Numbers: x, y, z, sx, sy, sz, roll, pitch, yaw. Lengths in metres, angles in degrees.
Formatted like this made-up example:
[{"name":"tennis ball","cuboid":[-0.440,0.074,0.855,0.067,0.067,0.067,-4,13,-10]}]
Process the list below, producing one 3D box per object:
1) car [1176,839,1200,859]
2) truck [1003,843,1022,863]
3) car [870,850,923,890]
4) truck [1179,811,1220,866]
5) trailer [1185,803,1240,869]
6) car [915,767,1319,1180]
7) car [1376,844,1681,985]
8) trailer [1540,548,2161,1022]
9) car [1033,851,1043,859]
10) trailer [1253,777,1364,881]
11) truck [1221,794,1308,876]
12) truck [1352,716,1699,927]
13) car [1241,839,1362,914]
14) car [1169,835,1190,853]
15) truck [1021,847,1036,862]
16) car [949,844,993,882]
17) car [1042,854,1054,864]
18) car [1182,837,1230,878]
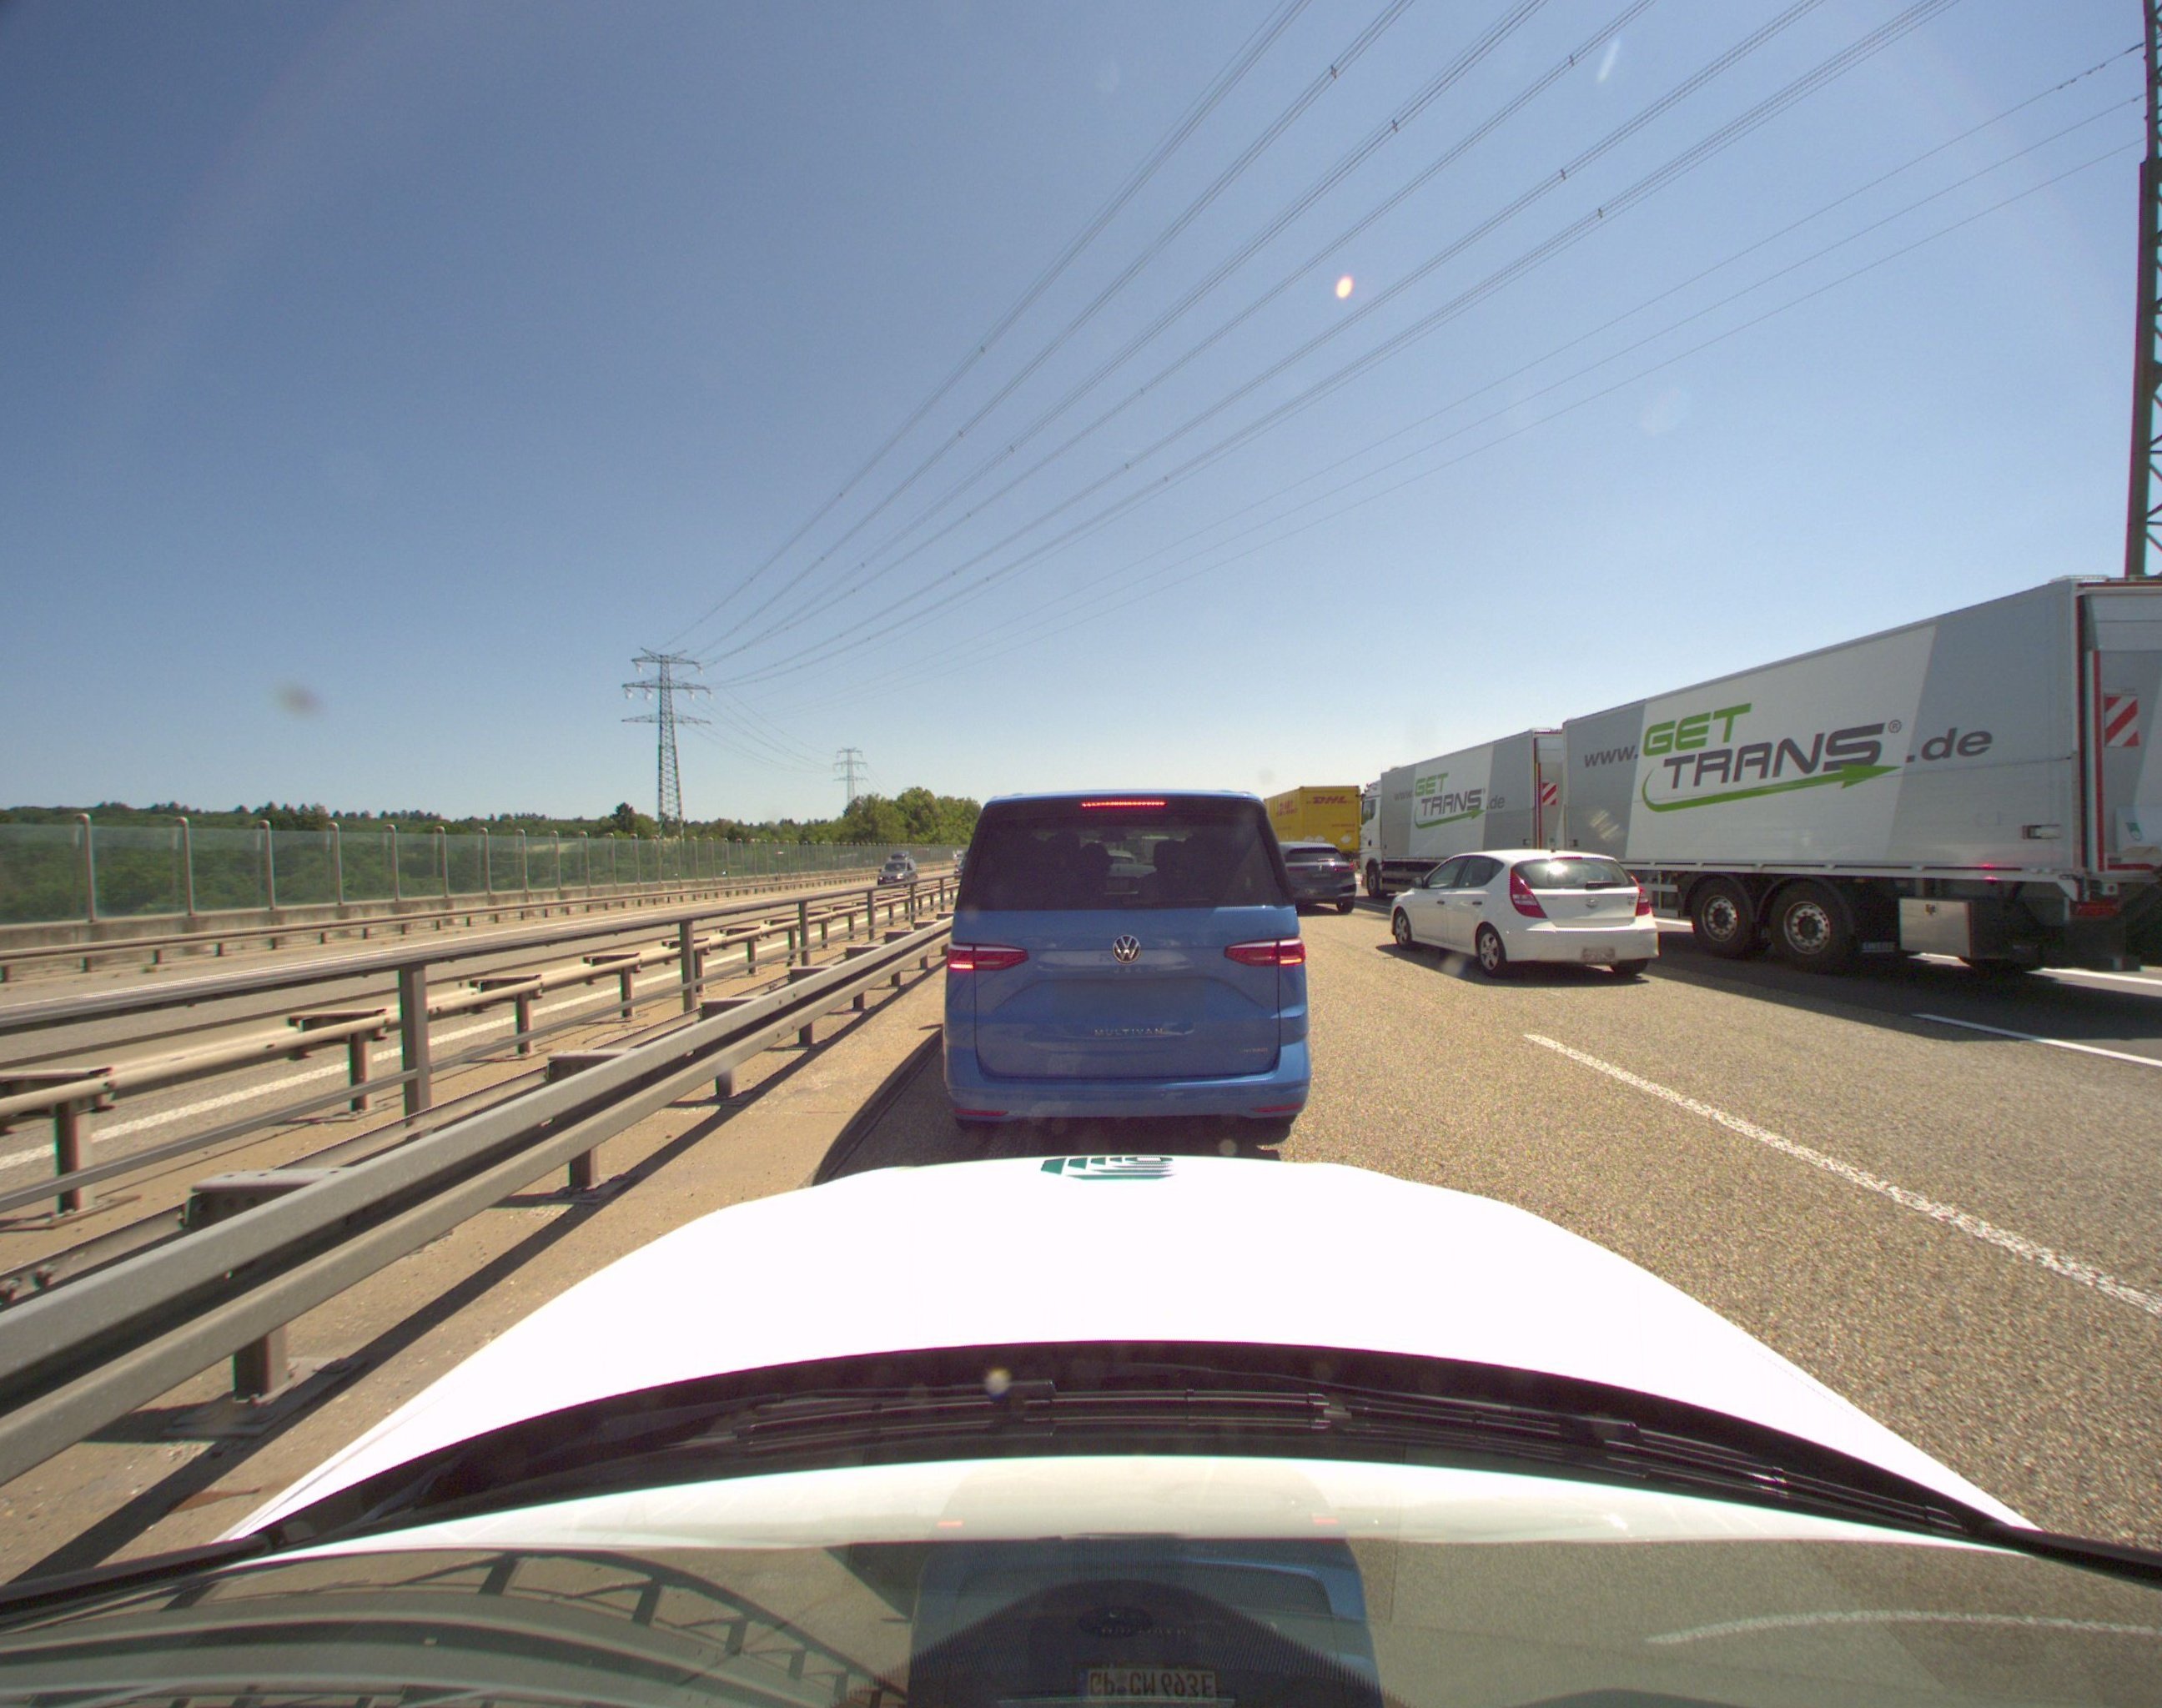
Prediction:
[{"name":"car","cuboid":[10.820,-0.490,82.719,1.986,2.014,4.002,-1,0,2]},{"name":"truck","cuboid":[-12.293,-0.136,146.360,2.488,3.365,5.836,-4,0,2]},{"name":"car","cuboid":[-11.243,0.940,49.942,1.986,2.215,4.269,-4,0,1]},{"name":"truck","cuboid":[10.023,-1.257,69.461,2.657,4.484,6.853,-1,0,2]},{"name":"trailer","cuboid":[9.822,-1.274,62.011,2.627,4.516,11.306,-1,0,2]},{"name":"car","cuboid":[0.228,0.546,5.731,1.813,1.857,4.076,-1,0,2]},{"name":"car","cuboid":[5.548,0.640,10.839,1.782,1.455,4.295,-1,0,2]},{"name":"trailer","cuboid":[9.414,-0.583,10.388,2.688,3.700,8.017,-1,0,1]},{"name":"car","cuboid":[-12.195,0.260,231.312,2.074,2.149,4.314,-4,0,2]},{"name":"trailer","cuboid":[10.222,-0.994,37.759,2.854,4.239,9.015,-1,0,2]},{"name":"truck","cuboid":[10.465,-0.970,47.774,2.826,4.243,11.014,-1,0,1]},{"name":"truck","cuboid":[9.684,-0.594,19.906,2.647,3.648,11.014,-1,0,1]},{"name":"car","cuboid":[5.368,0.498,20.394,1.954,1.644,4.295,-1,0,2]},{"name":"car","cuboid":[11.653,-1.131,96.746,1.986,2.013,4.463,-2,0,2]},{"name":"truck","cuboid":[-11.906,0.212,185.757,2.510,3.110,8.724,-5,0,1]},{"name":"car","cuboid":[-6.880,0.537,51.437,1.856,2.131,4.271,-4,0,2]},{"name":"car","cuboid":[-5.121,0.705,127.476,1.613,1.464,3.703,-3,0,2]},{"name":"car","cuboid":[6.488,0.187,42.645,1.954,1.993,4.295,-1,0,2]}]
